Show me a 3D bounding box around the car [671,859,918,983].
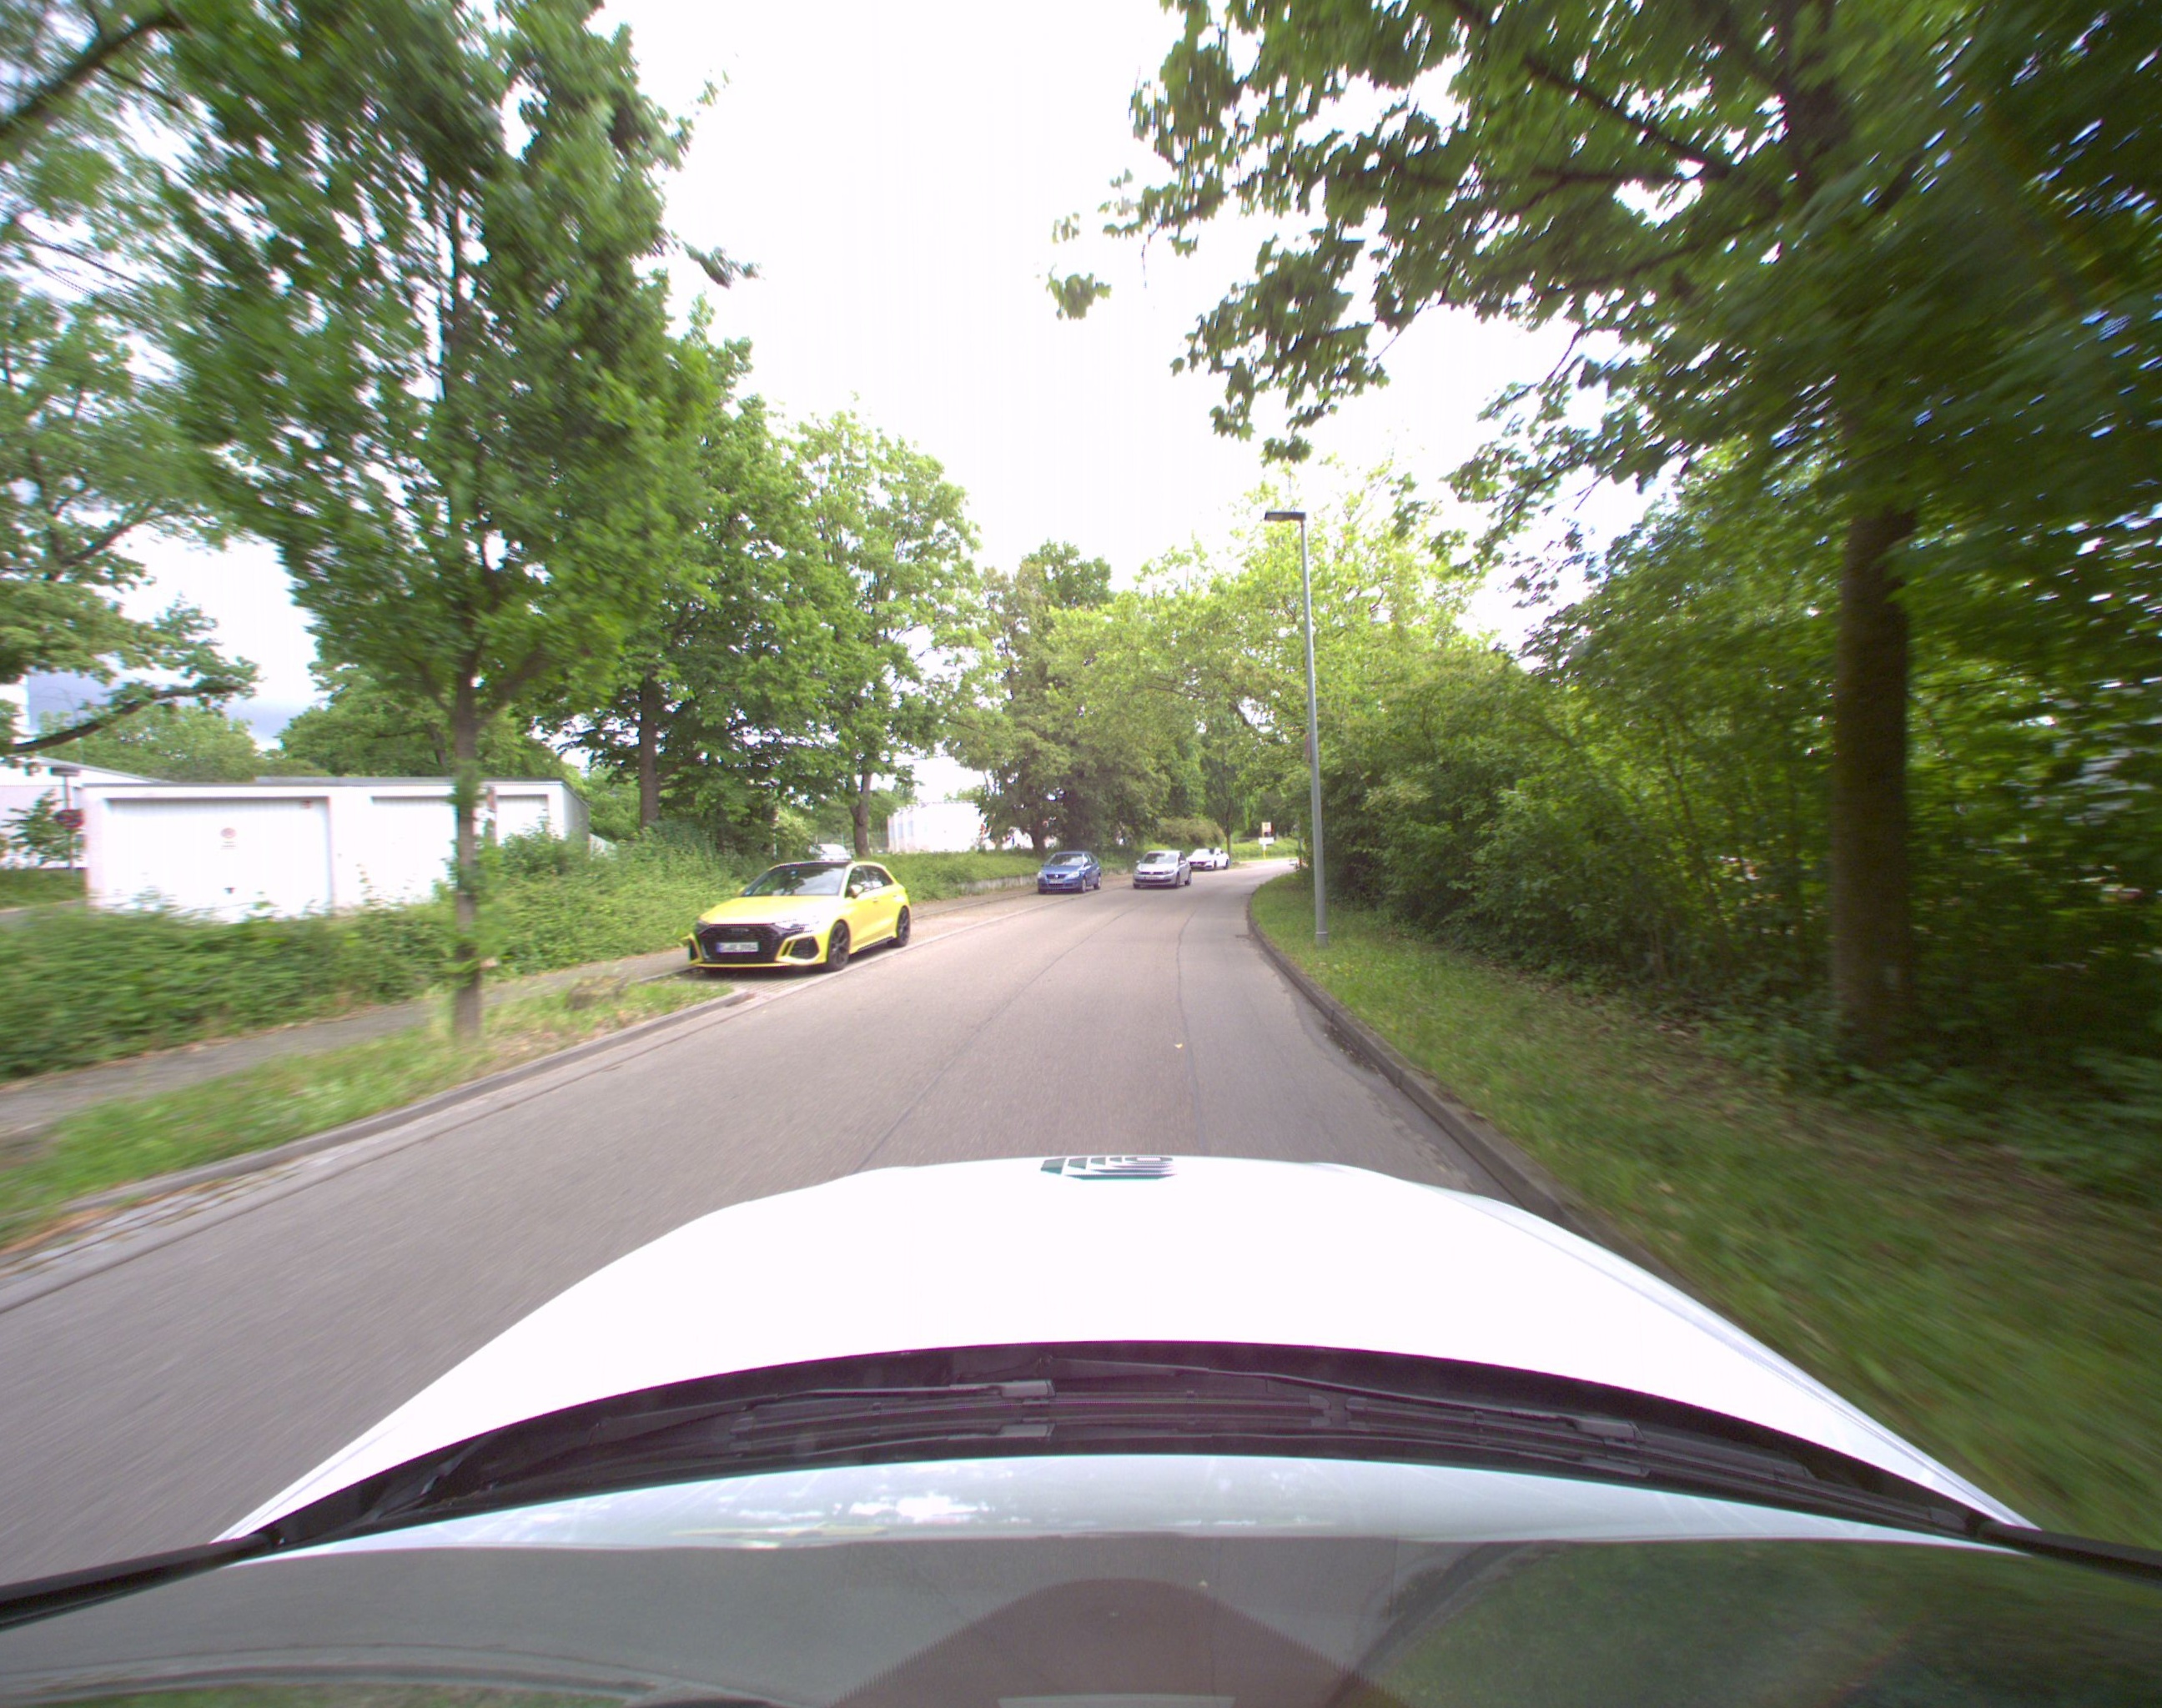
[{"bbox_3d":[-3.832,0.806,11.774,1.692,1.403,4.279,-2,0,5],"label":"car"}]

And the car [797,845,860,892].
[{"bbox_3d":[-9.823,0.497,31.506,1.749,1.622,3.841,-3,2,-25],"label":"car"}]

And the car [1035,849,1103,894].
[{"bbox_3d":[-0.358,0.578,29.485,1.523,1.459,3.734,-2,0,13],"label":"car"}]

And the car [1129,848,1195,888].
[{"bbox_3d":[3.319,0.502,32.579,1.662,1.462,4.082,0,1,20],"label":"car"}]

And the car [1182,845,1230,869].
[{"bbox_3d":[7.870,0.176,50.968,1.797,1.424,4.386,-1,0,24],"label":"car"}]
